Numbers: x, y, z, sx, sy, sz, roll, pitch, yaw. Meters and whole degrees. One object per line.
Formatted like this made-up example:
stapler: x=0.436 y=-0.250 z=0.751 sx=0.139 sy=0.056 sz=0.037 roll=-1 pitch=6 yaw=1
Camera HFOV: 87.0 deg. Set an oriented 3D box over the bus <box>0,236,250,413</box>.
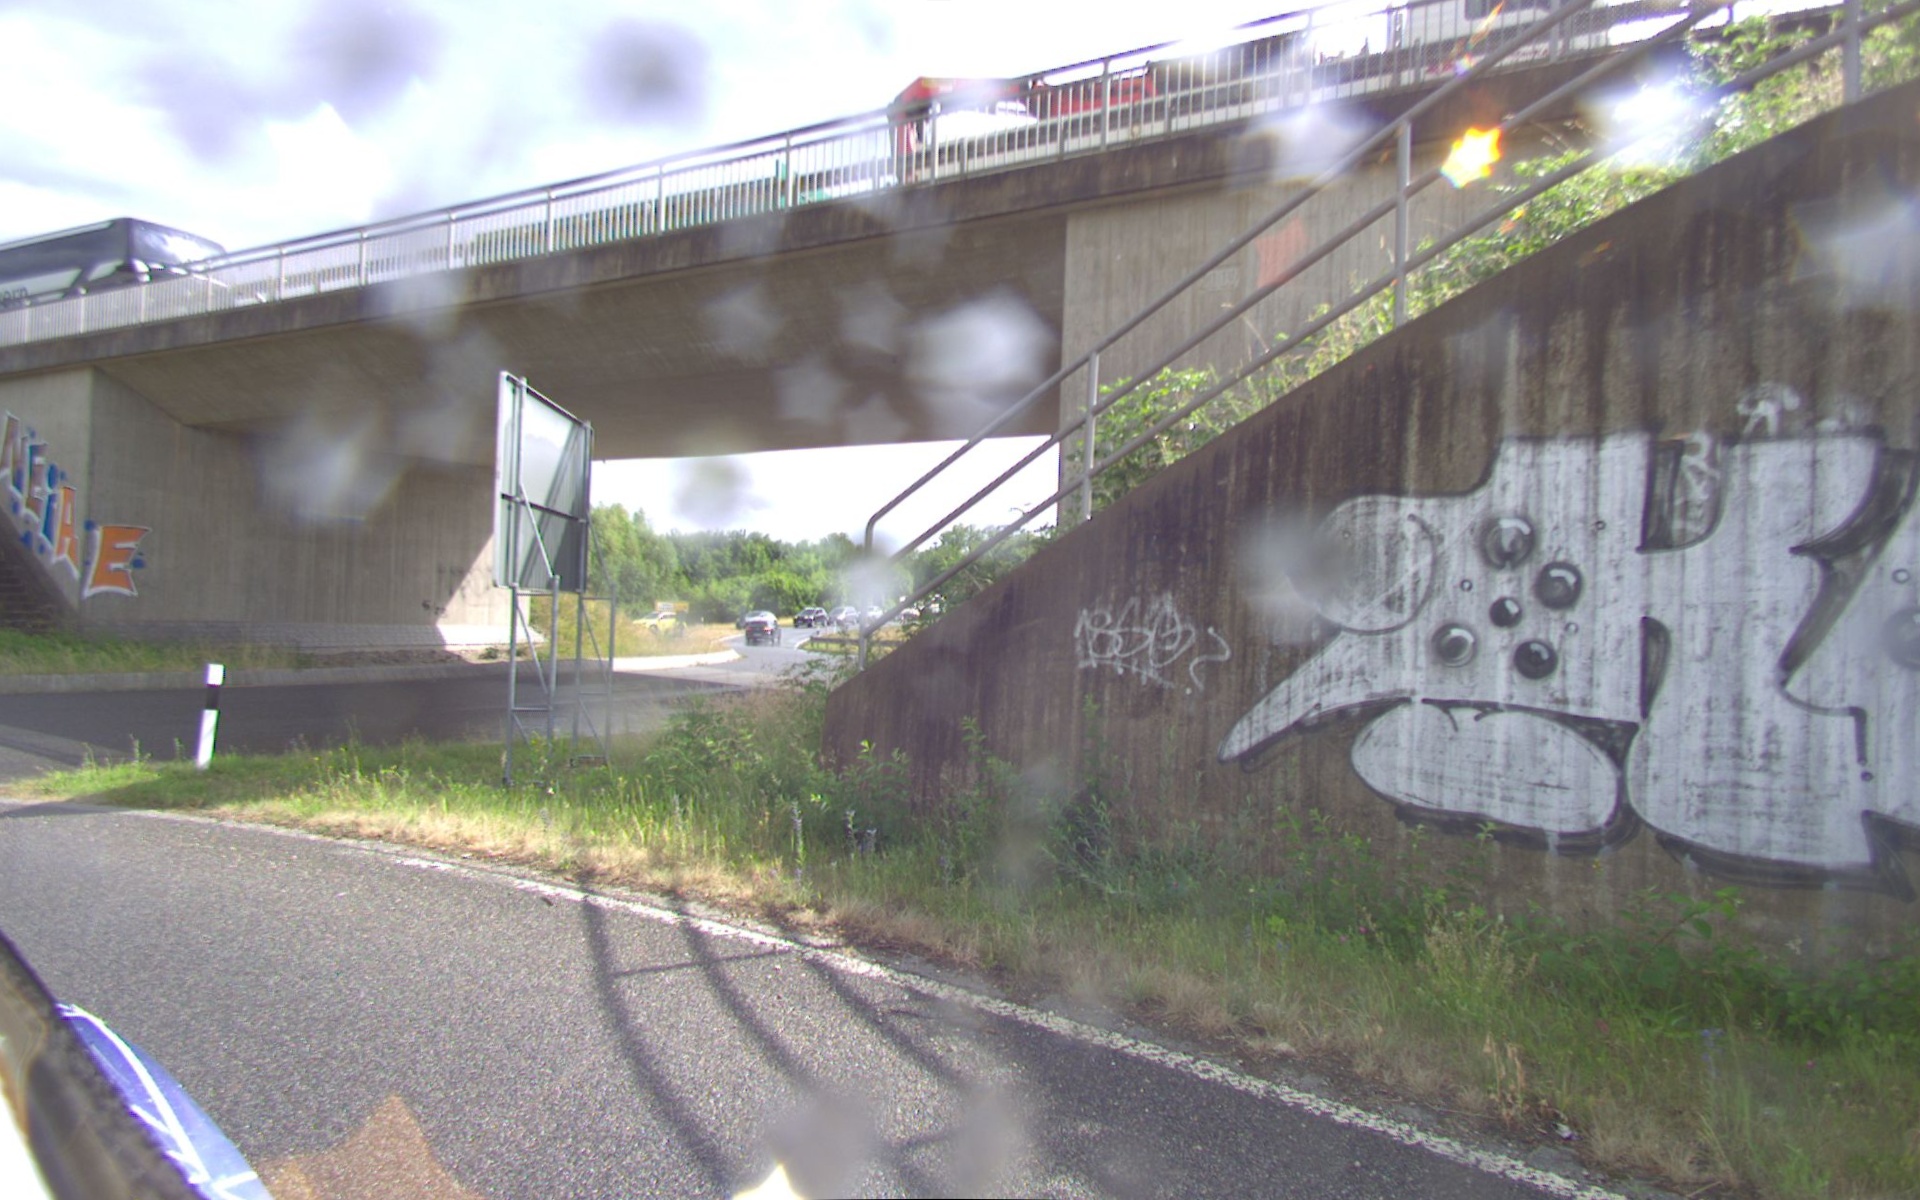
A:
bus: x=-25.008 y=-6.922 z=26.928 sx=14.365 sy=3.103 sz=2.594 roll=2 pitch=0 yaw=22
